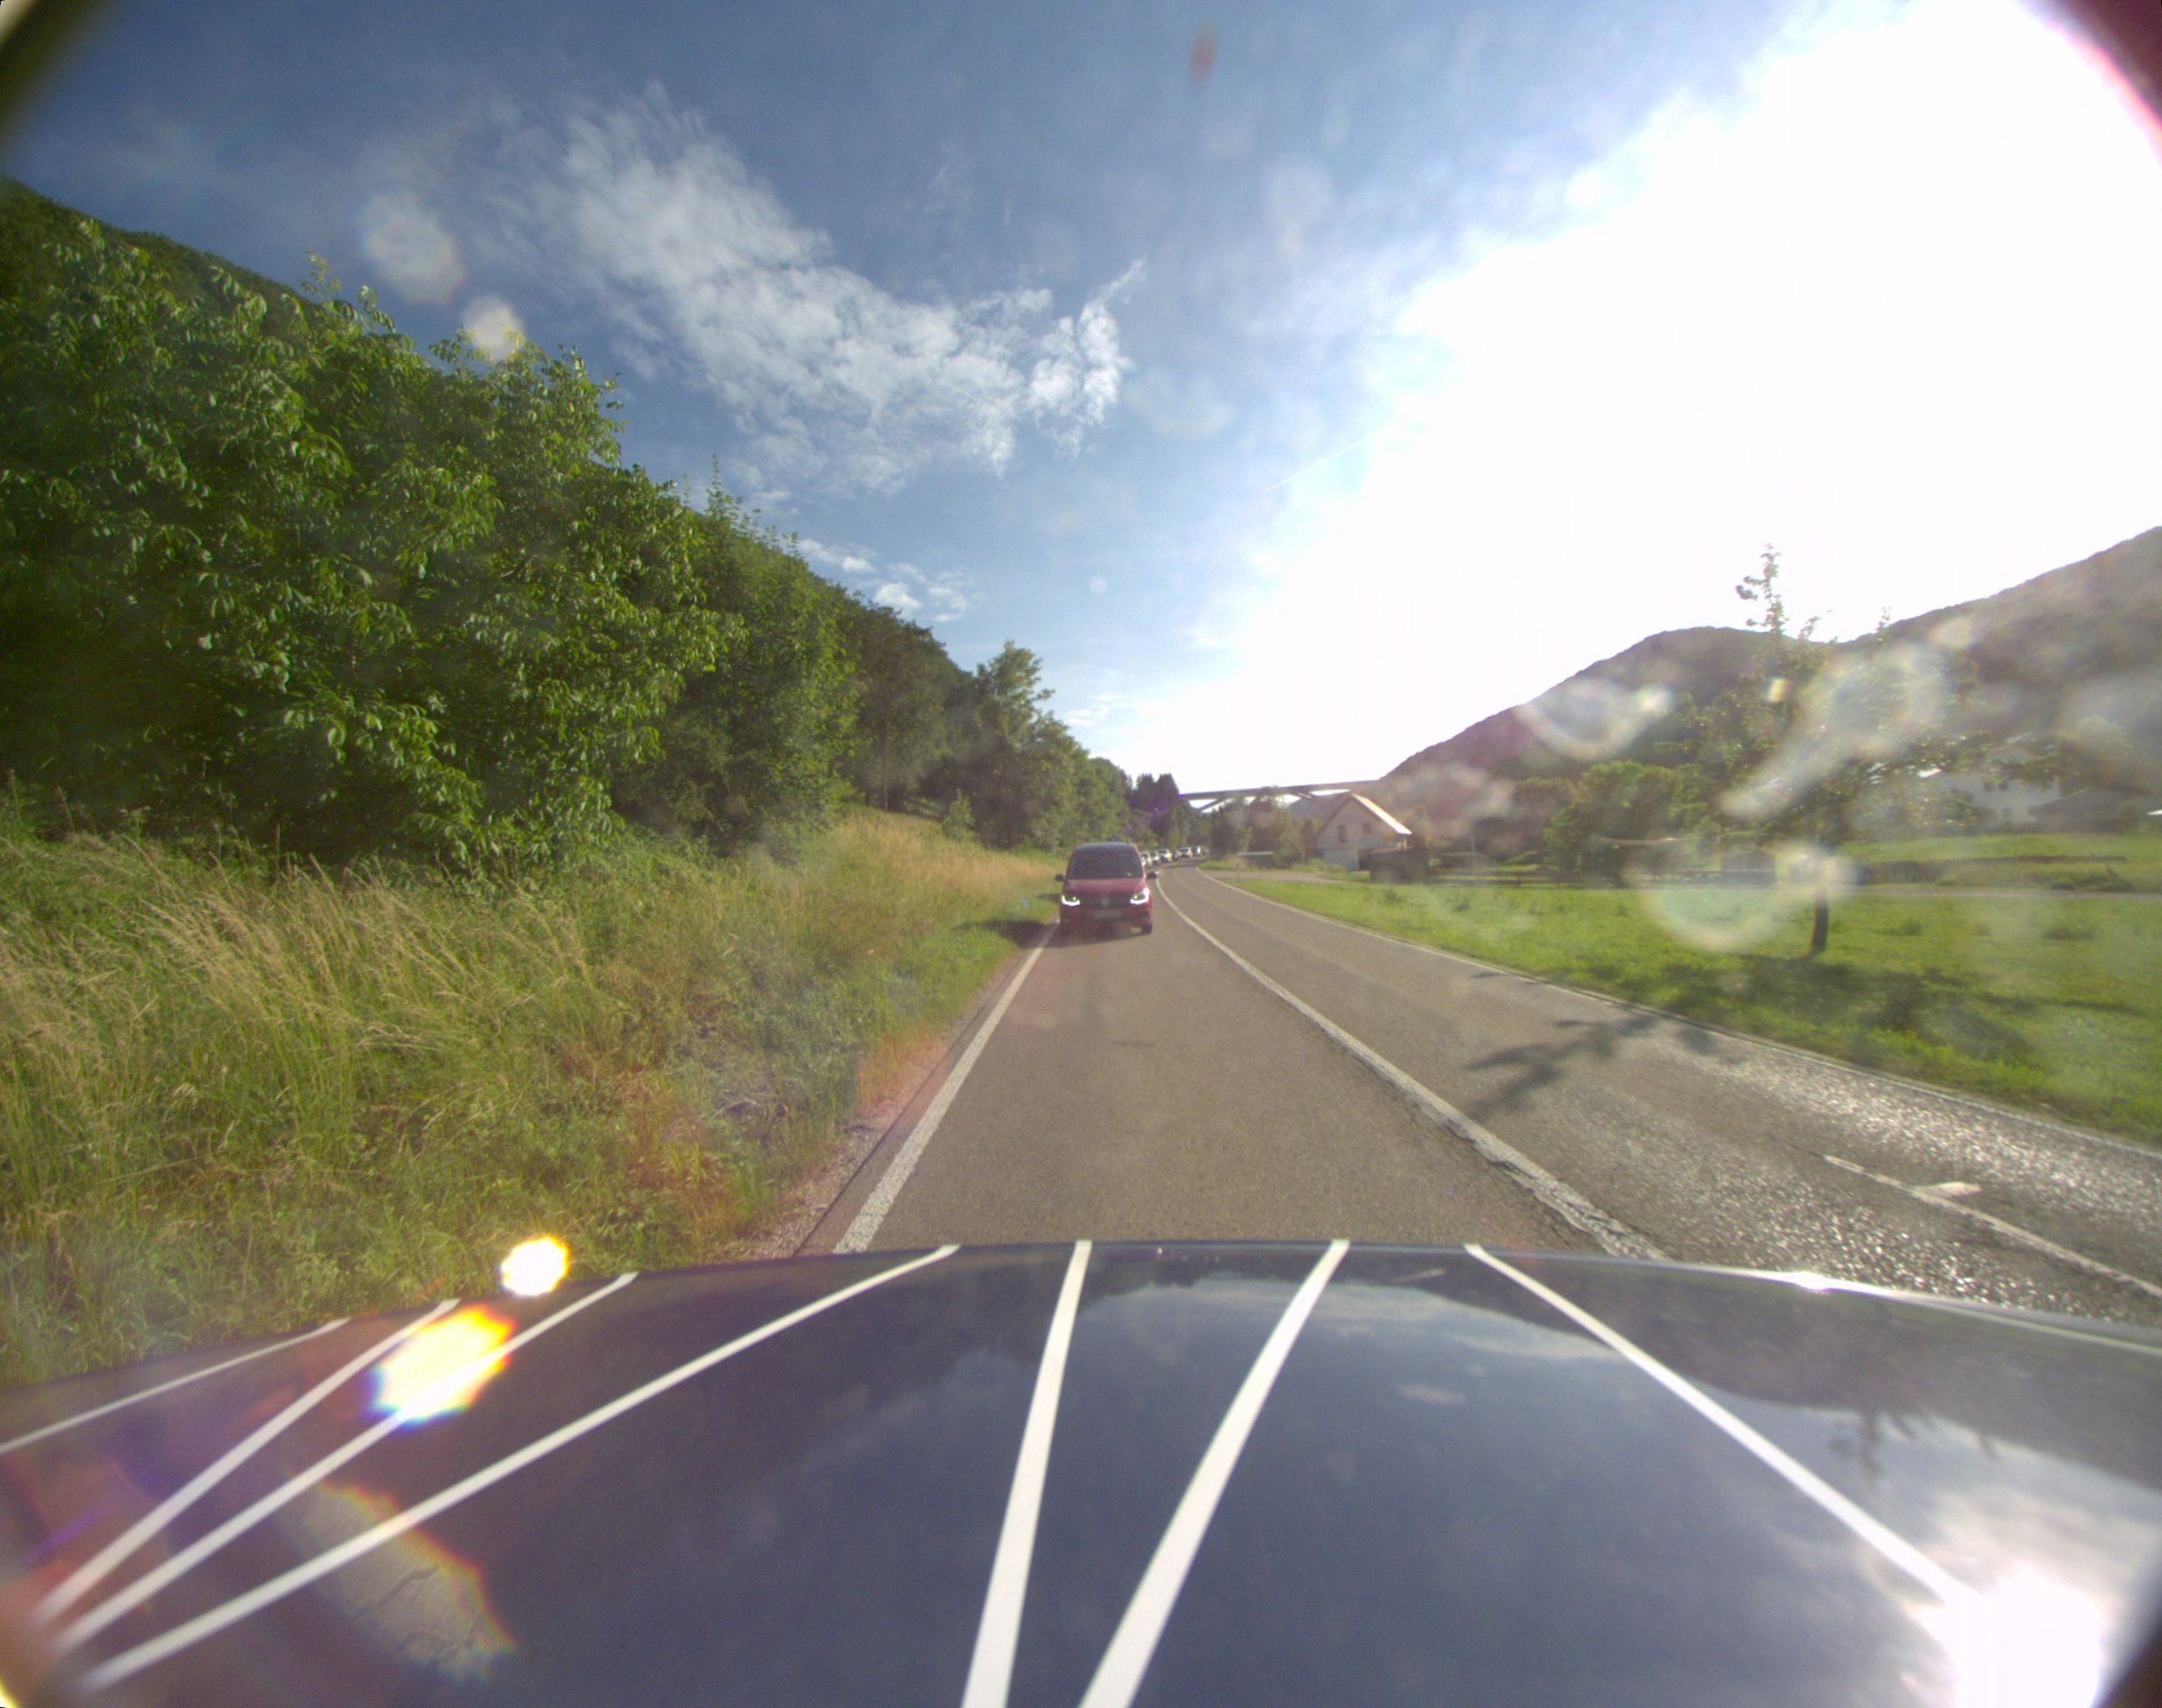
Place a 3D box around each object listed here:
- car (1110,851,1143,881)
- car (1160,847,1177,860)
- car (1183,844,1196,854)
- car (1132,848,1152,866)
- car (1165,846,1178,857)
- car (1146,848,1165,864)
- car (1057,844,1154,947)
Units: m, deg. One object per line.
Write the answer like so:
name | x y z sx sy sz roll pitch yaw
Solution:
car | 2.539 0.611 41.952 1.629 1.470 3.680 -2 1 6
car | 10.269 -0.057 88.970 1.630 1.470 3.679 -2 1 2
car | 16.973 -0.827 119.043 1.629 1.470 3.680 -2 1 5
car | 5.347 0.237 66.036 1.629 1.470 3.680 -2 1 6
car | 12.321 -0.352 103.138 1.629 1.470 3.681 -2 1 9
car | 7.312 0.177 75.088 1.630 1.470 3.679 -2 1 2
car | 0.498 0.706 15.327 1.649 1.762 4.000 -2 1 2
